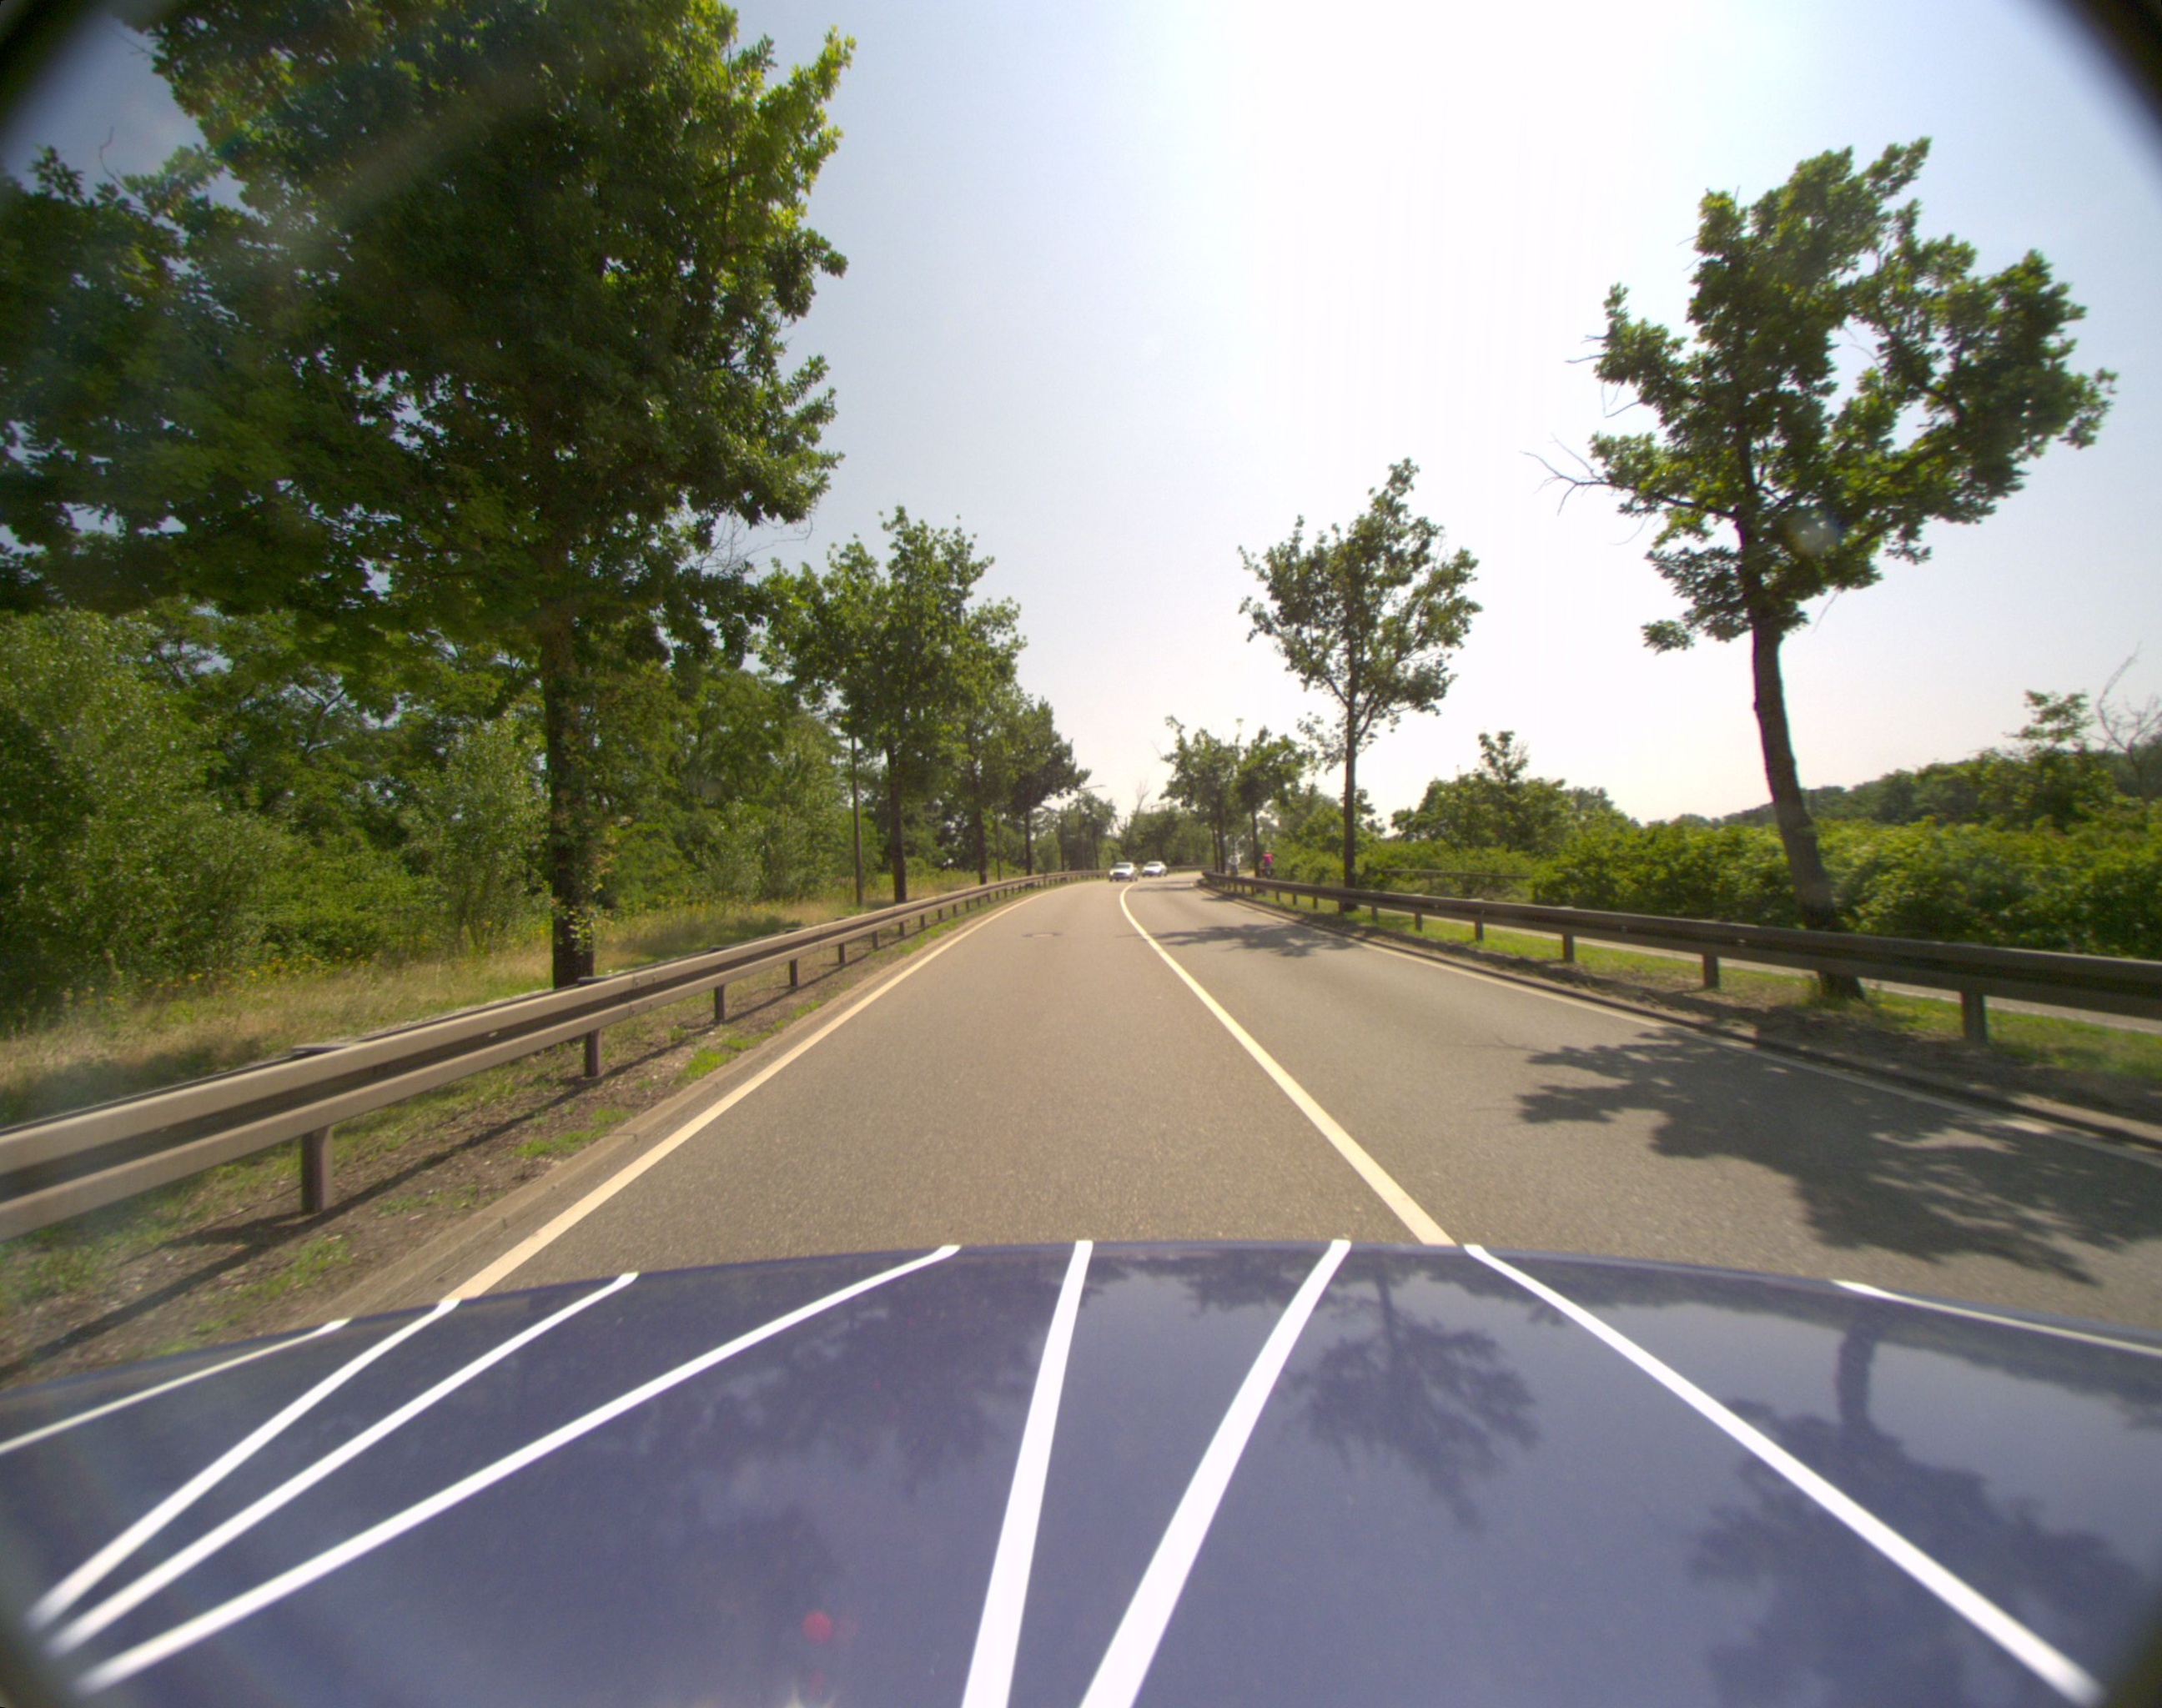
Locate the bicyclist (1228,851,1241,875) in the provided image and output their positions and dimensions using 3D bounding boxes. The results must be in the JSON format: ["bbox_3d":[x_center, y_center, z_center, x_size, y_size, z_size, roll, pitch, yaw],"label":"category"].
[{"bbox_3d":[9.381,0.556,46.398,0.731,1.457,0.824,1,1,7],"label":"bicyclist"}]

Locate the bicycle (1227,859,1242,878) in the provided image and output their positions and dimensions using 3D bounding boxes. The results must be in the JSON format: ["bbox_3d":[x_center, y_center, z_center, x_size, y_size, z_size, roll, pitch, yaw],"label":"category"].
[{"bbox_3d":[9.371,0.862,46.357,0.735,1.110,2.047,1,0,7],"label":"bicycle"}]

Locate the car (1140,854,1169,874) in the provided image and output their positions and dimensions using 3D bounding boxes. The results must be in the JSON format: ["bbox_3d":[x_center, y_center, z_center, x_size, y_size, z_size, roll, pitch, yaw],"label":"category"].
[{"bbox_3d":[7.135,0.968,73.450,1.796,1.772,4.299,-2,0,18],"label":"car"}]

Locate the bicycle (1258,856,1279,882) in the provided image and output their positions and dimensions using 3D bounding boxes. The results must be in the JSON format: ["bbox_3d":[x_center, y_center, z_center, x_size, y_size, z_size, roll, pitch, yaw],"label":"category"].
[{"bbox_3d":[9.852,0.767,39.954,0.736,1.274,2.047,-2,0,5],"label":"bicycle"}]

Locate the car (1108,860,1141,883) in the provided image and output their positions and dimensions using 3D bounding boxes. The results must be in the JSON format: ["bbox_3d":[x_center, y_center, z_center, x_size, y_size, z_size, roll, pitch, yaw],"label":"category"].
[{"bbox_3d":[3.271,1.269,56.594,1.761,1.490,4.236,-2,1,12],"label":"car"}]

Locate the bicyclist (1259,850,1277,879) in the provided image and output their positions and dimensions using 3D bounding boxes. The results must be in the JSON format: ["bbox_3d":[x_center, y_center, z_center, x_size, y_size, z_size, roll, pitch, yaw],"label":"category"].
[{"bbox_3d":[9.833,0.534,40.031,0.743,1.480,0.757,-2,0,4],"label":"bicyclist"}]
